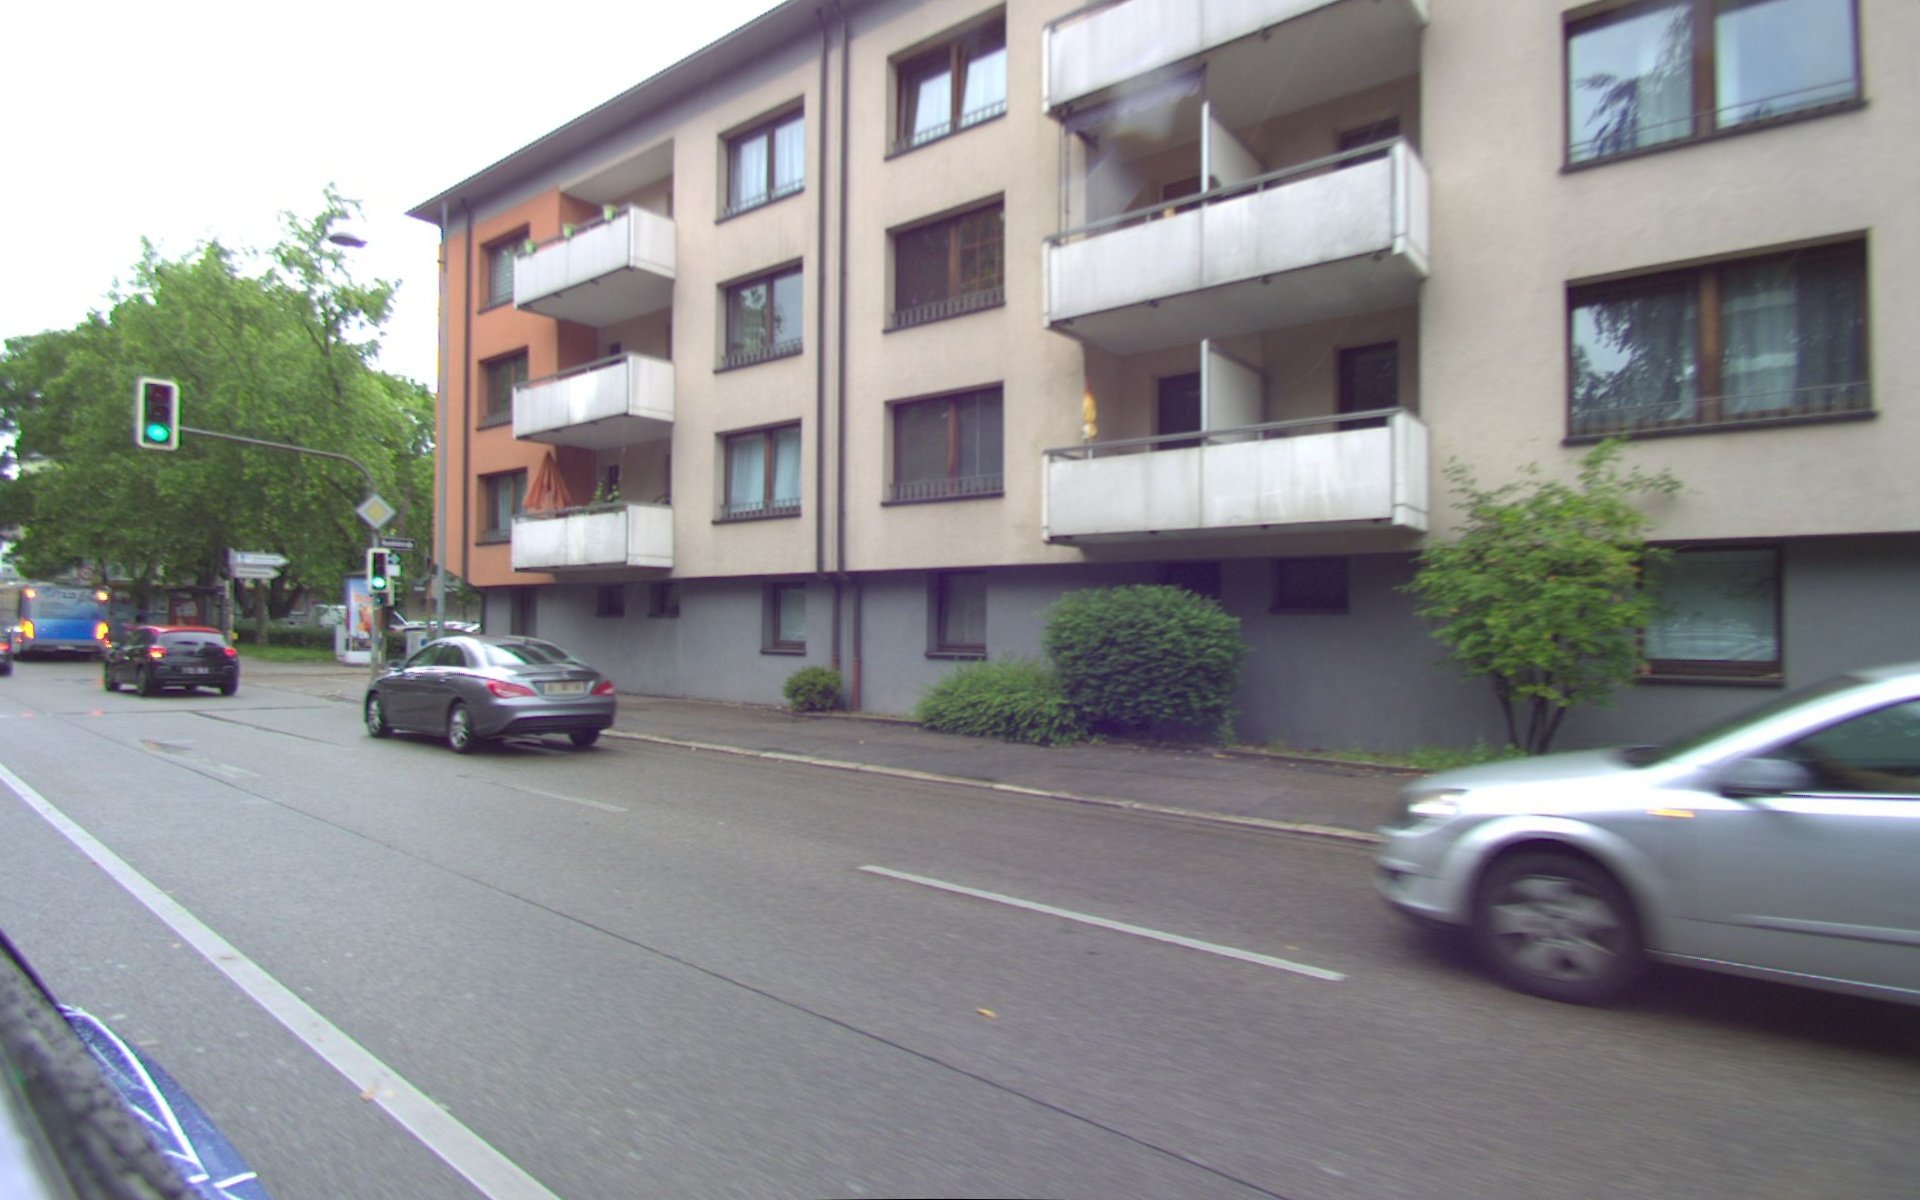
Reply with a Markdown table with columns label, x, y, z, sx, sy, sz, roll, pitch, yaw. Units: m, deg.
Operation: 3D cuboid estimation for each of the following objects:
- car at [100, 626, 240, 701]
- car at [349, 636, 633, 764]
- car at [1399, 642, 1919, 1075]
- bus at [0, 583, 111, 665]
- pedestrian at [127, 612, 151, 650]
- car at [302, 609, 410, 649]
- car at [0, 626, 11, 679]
| label | x | y | z | sx | sy | sz | roll | pitch | yaw |
| --- | --- | --- | --- | --- | --- | --- | --- | --- | --- |
| car | -17.439 | 1.356 | 22.284 | 3.887 | 1.503 | 1.669 | -2 | -4 | 41 |
| car | -6.399 | 1.208 | 13.536 | 4.682 | 1.426 | 1.793 | -2 | -4 | 43 |
| car | 4.039 | 0.881 | 3.832 | 4.043 | 1.426 | 1.795 | -2 | -3 | 38 |
| bus | -37.833 | 0.972 | 41.552 | 12.079 | 2.962 | 2.665 | -1 | -2 | 41 |
| pedestrian | -38.485 | 1.443 | 47.434 | 0.687 | 1.782 | 0.702 | -1 | 1 | 41 |
| car | -29.936 | 1.454 | 50.279 | 1.701 | 1.937 | 4.280 | -1 | -3 | 38 |
| car | -27.800 | 1.437 | 28.005 | 4.332 | 1.426 | 1.775 | -2 | -4 | 41 |
